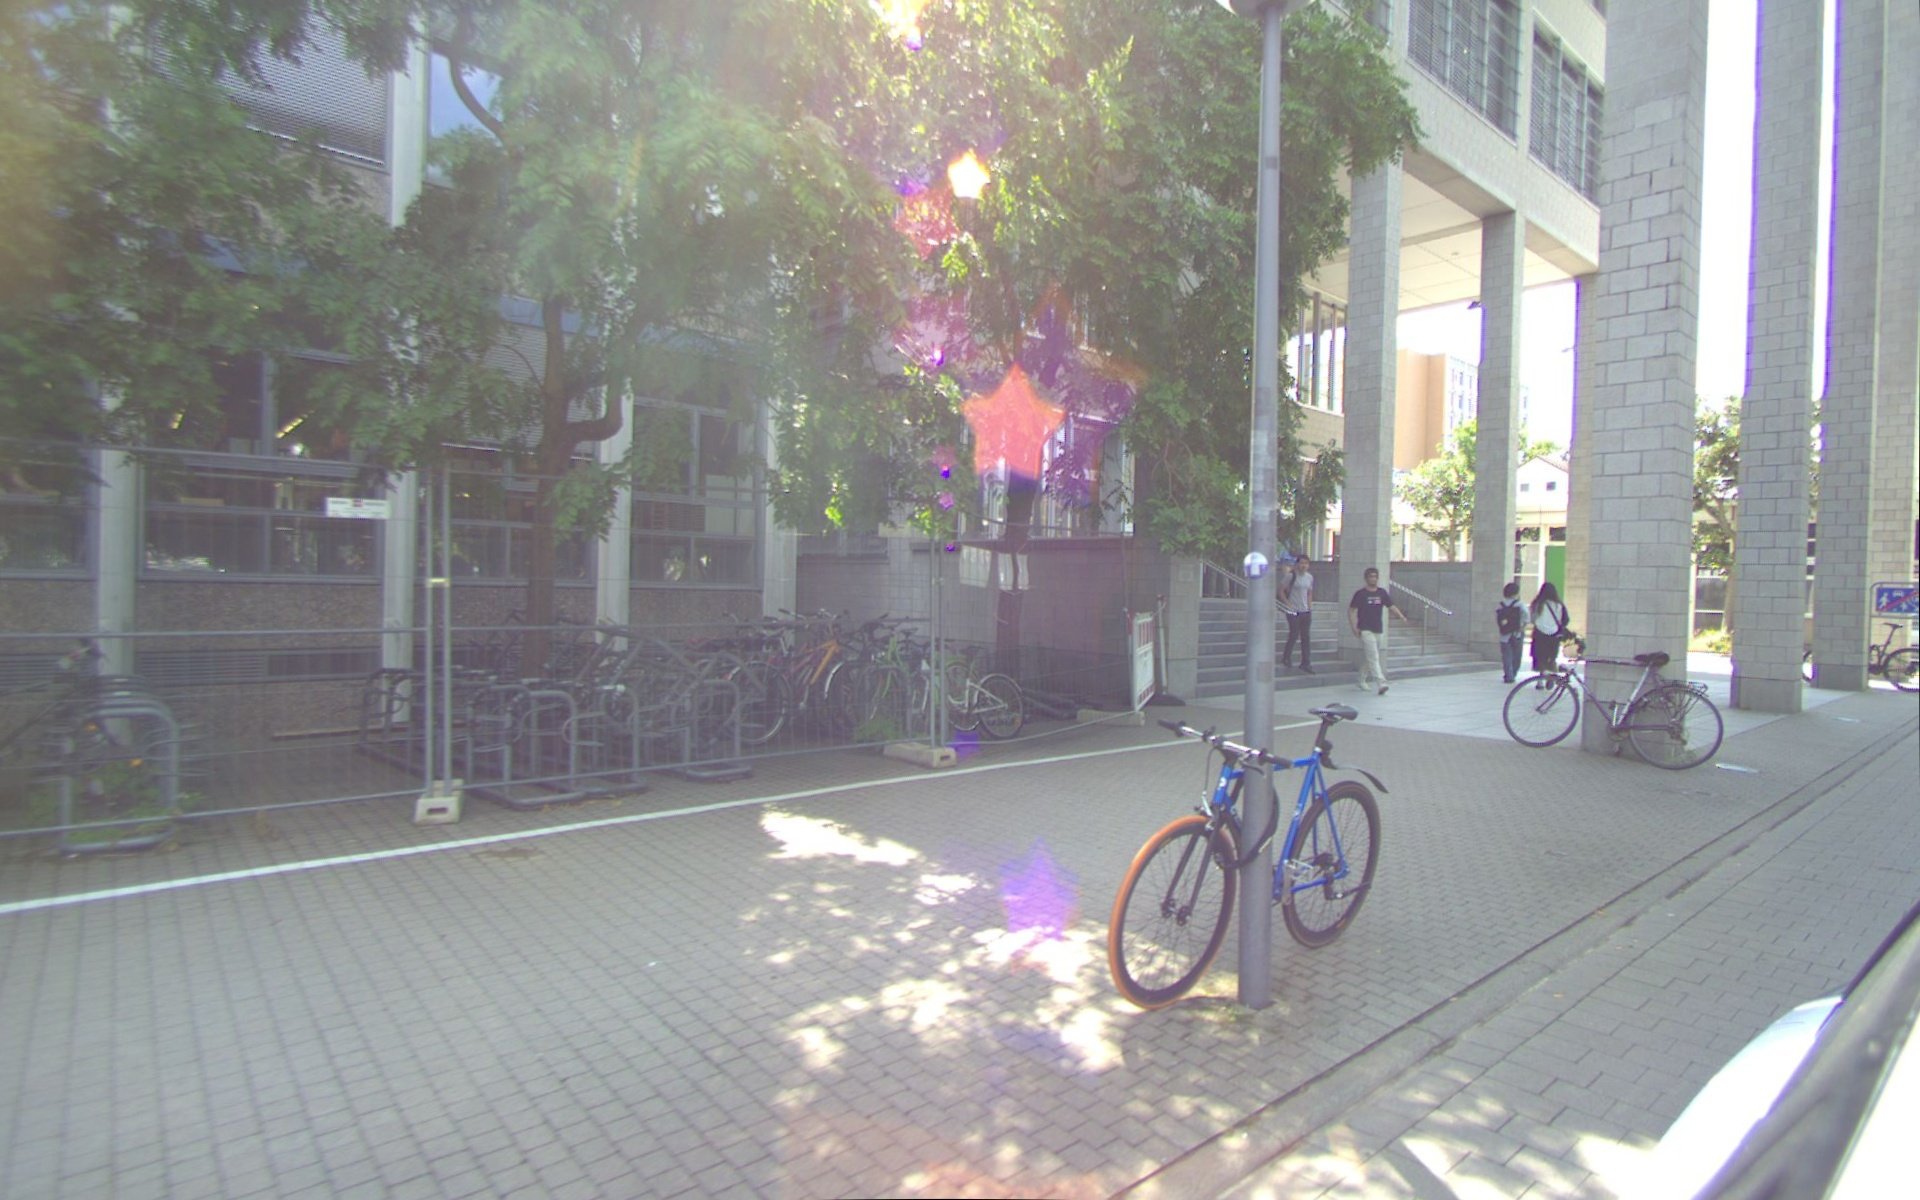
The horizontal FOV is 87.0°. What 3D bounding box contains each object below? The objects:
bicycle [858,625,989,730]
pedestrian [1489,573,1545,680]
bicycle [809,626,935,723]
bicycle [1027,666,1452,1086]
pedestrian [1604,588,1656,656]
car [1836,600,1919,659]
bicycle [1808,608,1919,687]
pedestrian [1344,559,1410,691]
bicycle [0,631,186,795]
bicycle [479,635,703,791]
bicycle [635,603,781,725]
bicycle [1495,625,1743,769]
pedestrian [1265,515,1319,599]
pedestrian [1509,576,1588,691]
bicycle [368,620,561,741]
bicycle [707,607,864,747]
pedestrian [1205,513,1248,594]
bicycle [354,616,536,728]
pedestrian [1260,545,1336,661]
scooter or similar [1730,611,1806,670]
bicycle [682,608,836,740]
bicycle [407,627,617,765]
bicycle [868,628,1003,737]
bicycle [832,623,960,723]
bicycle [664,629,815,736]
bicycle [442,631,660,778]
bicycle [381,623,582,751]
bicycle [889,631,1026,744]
[{"bbox_3d":[-0.329,0.721,9.786,1.424,0.917,0.291,0,1,-45],"label":"bicycle"},{"bbox_3d":[9.145,0.417,16.643,0.668,1.691,0.892,2,0,24],"label":"pedestrian"},{"bbox_3d":[-0.884,0.741,10.458,1.424,0.917,0.291,0,1,-45],"label":"bicycle"},{"bbox_3d":[1.086,0.824,3.632,1.826,1.052,0.538,0,2,-41],"label":"bicycle"},{"bbox_3d":[16.309,0.509,24.660,0.810,1.594,0.875,2,0,19],"label":"pedestrian"},{"bbox_3d":[26.681,0.836,27.773,1.624,1.494,3.775,-2,3,-40],"label":"car"},{"bbox_3d":[15.267,0.785,16.681,0.595,1.178,1.882,2,2,-45],"label":"bicycle"},{"bbox_3d":[6.007,0.345,14.624,0.692,1.826,0.879,2,0,14],"label":"pedestrian"},{"bbox_3d":[-5.682,0.668,5.943,0.290,0.917,1.778,2,1,41],"label":"bicycle"},{"bbox_3d":[-2.461,0.719,6.863,1.424,0.917,0.291,0,1,-45],"label":"bicycle"},{"bbox_3d":[-2.442,0.595,9.924,1.424,1.113,0.291,1,1,-45],"label":"bicycle"},{"bbox_3d":[5.715,0.794,8.861,0.442,1.052,1.740,2,1,-45],"label":"bicycle"},{"bbox_3d":[7.135,-0.923,21.767,0.633,1.746,0.865,2,1,-41],"label":"pedestrian"},{"bbox_3d":[8.747,0.481,15.075,0.796,1.637,0.738,2,1,15],"label":"pedestrian"},{"bbox_3d":[-4.118,0.637,8.494,1.424,0.917,0.291,0,1,-45],"label":"bicycle"},{"bbox_3d":[-1.504,0.634,8.902,1.424,1.142,0.291,1,1,-45],"label":"bicycle"},{"bbox_3d":[6.097,-1.054,23.142,0.580,1.825,0.684,2,0,-43],"label":"pedestrian"},{"bbox_3d":[-4.585,0.614,9.072,1.424,0.917,0.291,0,1,-45],"label":"bicycle"},{"bbox_3d":[5.087,0.037,15.264,0.688,1.676,0.884,2,0,-12],"label":"pedestrian"},{"bbox_3d":[17.110,0.837,21.452,0.436,1.165,1.159,2,1,-36],"label":"scooter or similar"},{"bbox_3d":[-1.795,0.631,9.169,1.424,1.108,0.291,1,1,-45],"label":"bicycle"},{"bbox_3d":[-3.328,0.680,7.614,1.424,0.917,0.291,0,1,-45],"label":"bicycle"},{"bbox_3d":[-0.204,0.734,9.429,1.424,0.917,0.291,0,1,-45],"label":"bicycle"},{"bbox_3d":[-0.614,0.700,10.150,1.424,0.917,0.291,0,1,-45],"label":"bicycle"},{"bbox_3d":[-2.029,0.740,9.433,1.424,0.898,0.291,0,1,-45],"label":"bicycle"},{"bbox_3d":[-2.875,0.701,7.213,1.424,0.917,0.291,0,1,-45],"label":"bicycle"},{"bbox_3d":[-3.794,0.657,8.104,1.424,0.917,0.291,0,1,-45],"label":"bicycle"},{"bbox_3d":[0.006,0.758,9.164,1.424,0.917,0.291,0,1,-45],"label":"bicycle"}]
